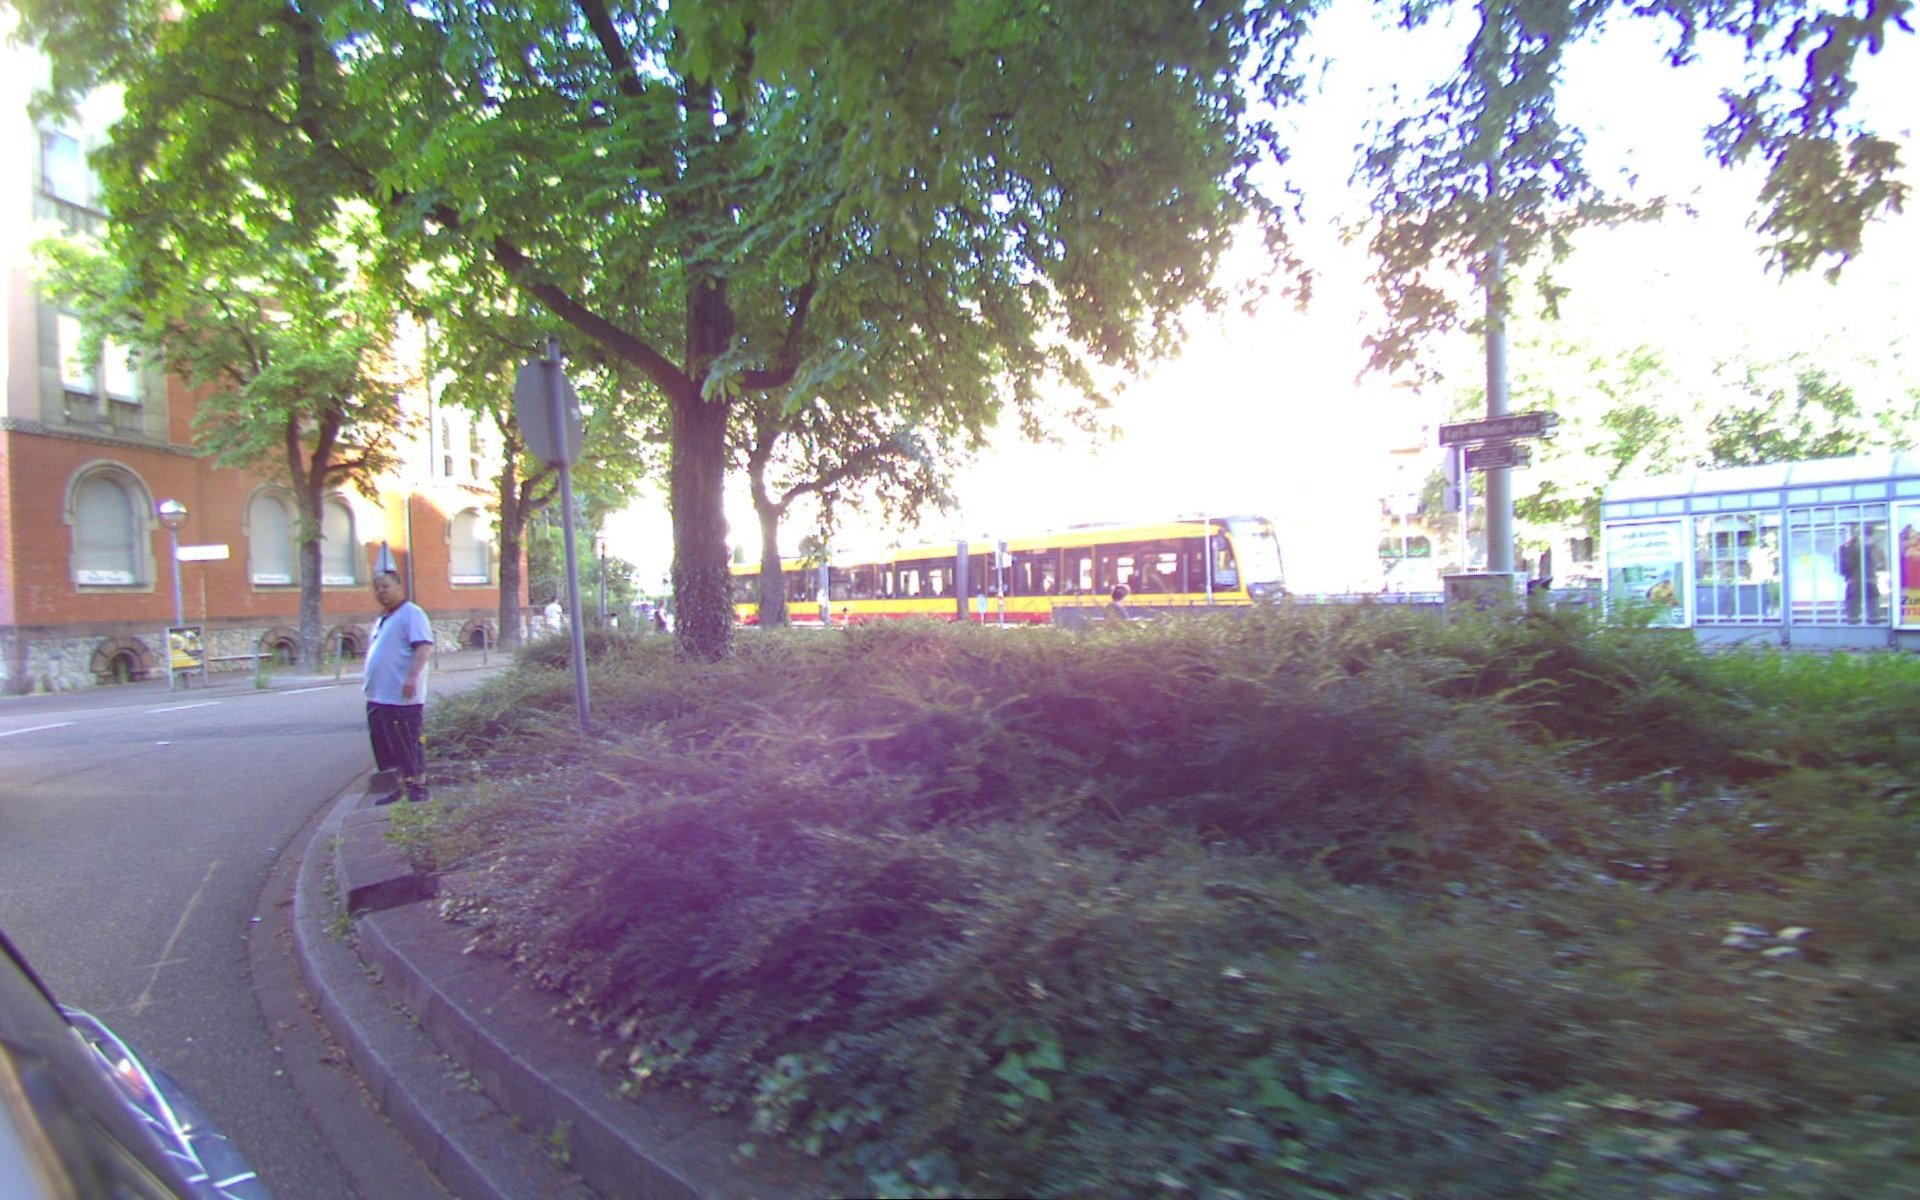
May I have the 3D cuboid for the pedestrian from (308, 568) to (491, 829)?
[{"bbox_3d":[-3.929,0.652,7.173,0.768,1.696,0.919,-2,0,-4],"label":"pedestrian"}]

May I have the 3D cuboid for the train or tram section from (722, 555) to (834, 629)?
[{"bbox_3d":[-9.700,-0.419,53.416,2.925,3.533,7.207,-3,2,-35],"label":"train or tram section"}]

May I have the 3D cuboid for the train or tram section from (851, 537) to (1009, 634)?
[{"bbox_3d":[-1.398,-0.525,41.648,2.886,3.626,7.206,-3,1,-35],"label":"train or tram section"}]

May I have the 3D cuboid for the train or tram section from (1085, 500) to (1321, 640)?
[{"bbox_3d":[6.977,-0.781,29.902,2.874,3.668,6.362,-2,0,-35],"label":"train or tram section"}]

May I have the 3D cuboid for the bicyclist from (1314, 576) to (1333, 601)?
[{"bbox_3d":[15.968,-0.496,44.505,0.670,1.062,0.610,-2,0,13],"label":"bicyclist"}]

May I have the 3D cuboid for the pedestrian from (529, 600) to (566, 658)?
[{"bbox_3d":[-12.351,0.857,30.290,0.846,1.655,0.872,-2,0,-32],"label":"pedestrian"}]

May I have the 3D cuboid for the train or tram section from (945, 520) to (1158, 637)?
[{"bbox_3d":[2.961,-0.650,35.489,2.874,3.641,7.879,-2,0,-35],"label":"train or tram section"}]

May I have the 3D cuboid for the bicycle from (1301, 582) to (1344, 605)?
[{"bbox_3d":[15.942,-0.279,44.529,1.725,0.953,0.652,-2,0,14],"label":"bicycle"}]

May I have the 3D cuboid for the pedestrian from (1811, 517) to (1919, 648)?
[{"bbox_3d":[13.740,-0.259,15.354,0.897,1.911,1.022,-2,0,-36],"label":"pedestrian"}]

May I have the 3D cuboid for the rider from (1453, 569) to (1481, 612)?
[{"bbox_3d":[20.586,-0.385,41.090,0.660,1.694,0.822,-2,2,-4],"label":"rider"}]

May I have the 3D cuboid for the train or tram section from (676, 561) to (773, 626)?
[{"bbox_3d":[-13.887,-0.376,59.305,2.925,3.533,7.207,-3,2,-35],"label":"train or tram section"}]

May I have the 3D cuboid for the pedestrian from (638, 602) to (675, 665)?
[{"bbox_3d":[-7.989,0.870,26.669,0.840,1.617,0.603,-2,0,-14],"label":"pedestrian"}]

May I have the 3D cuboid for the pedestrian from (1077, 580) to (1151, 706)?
[{"bbox_3d":[2.168,0.589,14.210,0.813,1.696,0.893,-2,0,20],"label":"pedestrian"}]

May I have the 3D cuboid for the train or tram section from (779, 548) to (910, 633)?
[{"bbox_3d":[-5.549,-0.449,47.525,2.891,3.617,7.207,-3,2,-35],"label":"train or tram section"}]
